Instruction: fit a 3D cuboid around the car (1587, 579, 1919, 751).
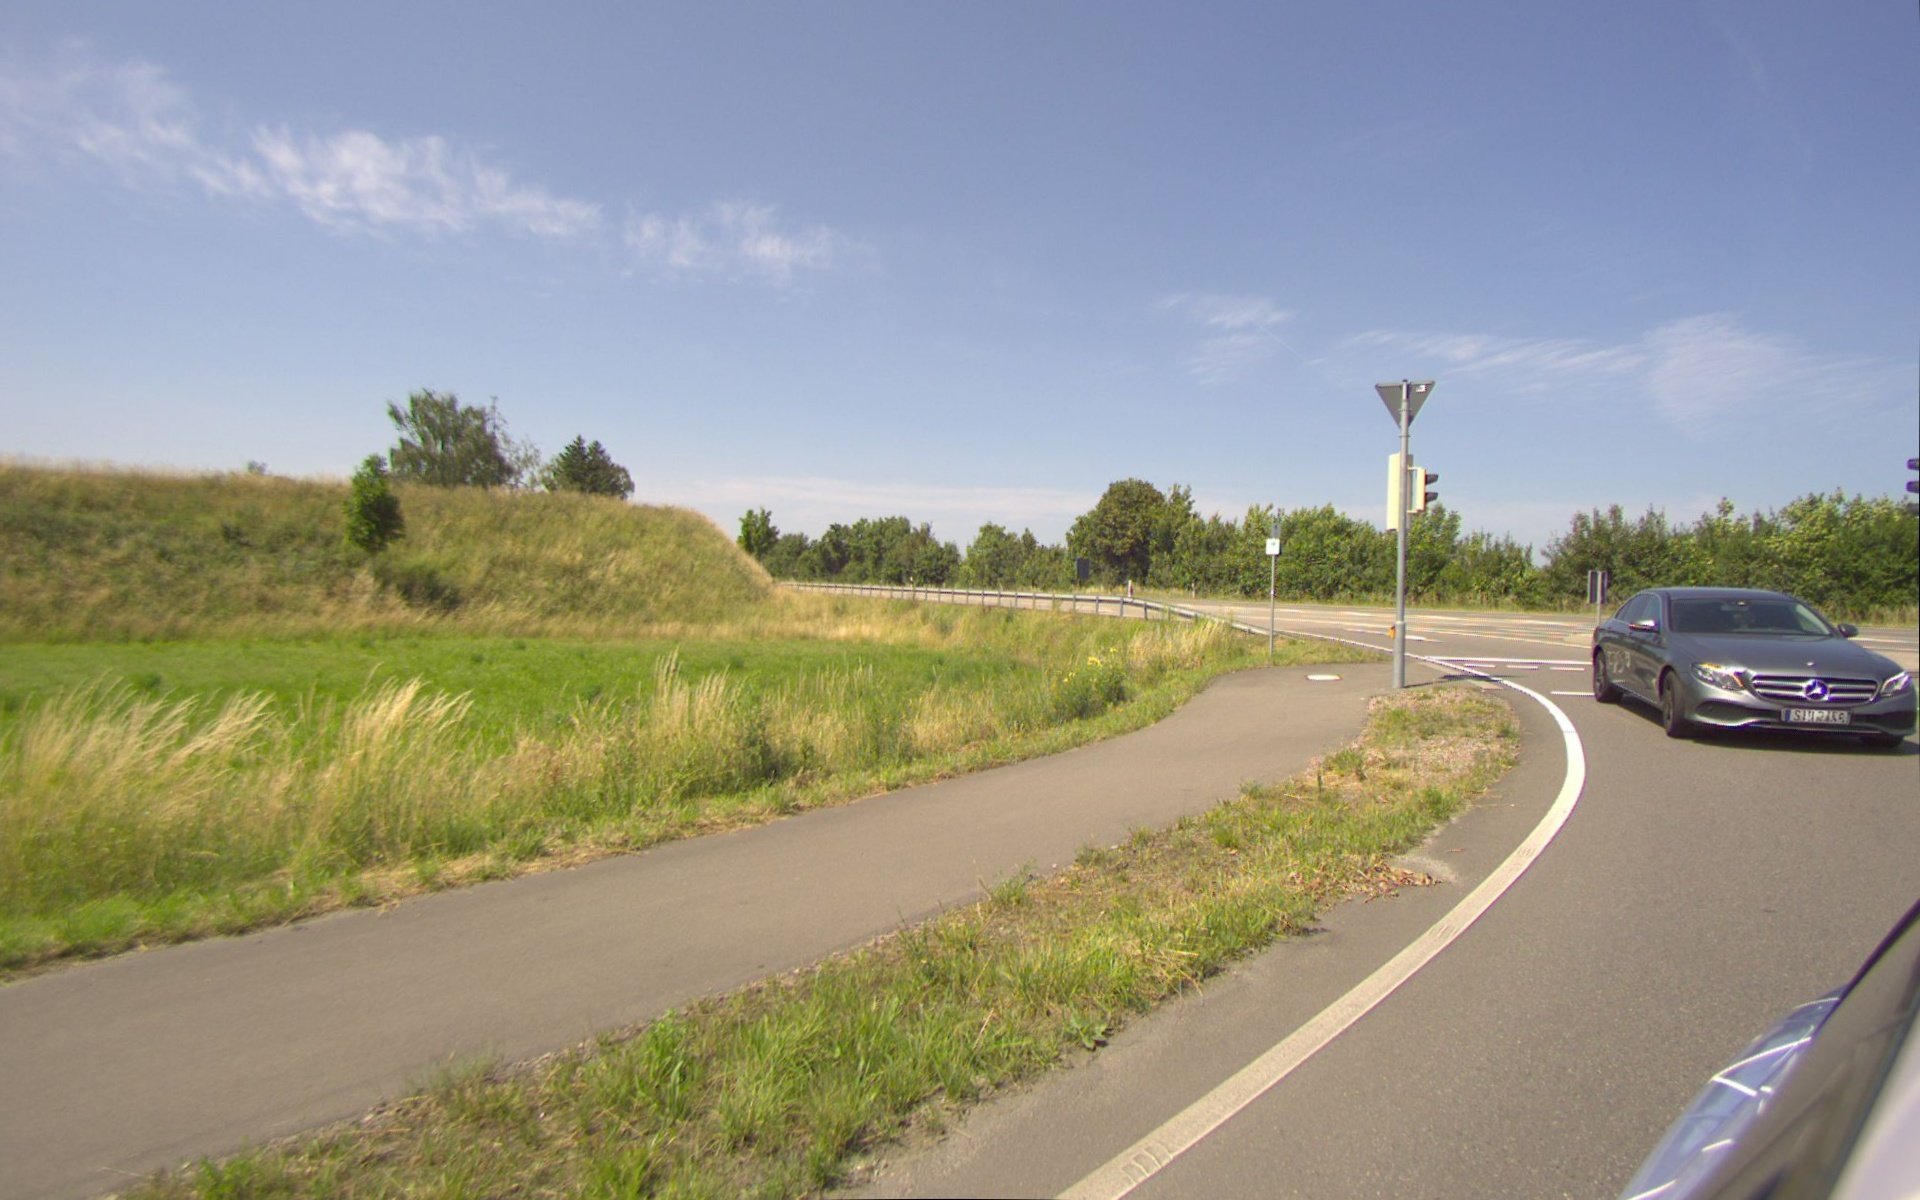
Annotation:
[{"bbox_3d":[8.489,0.520,11.127,1.872,1.465,4.495,0,1,21],"label":"car"}]
